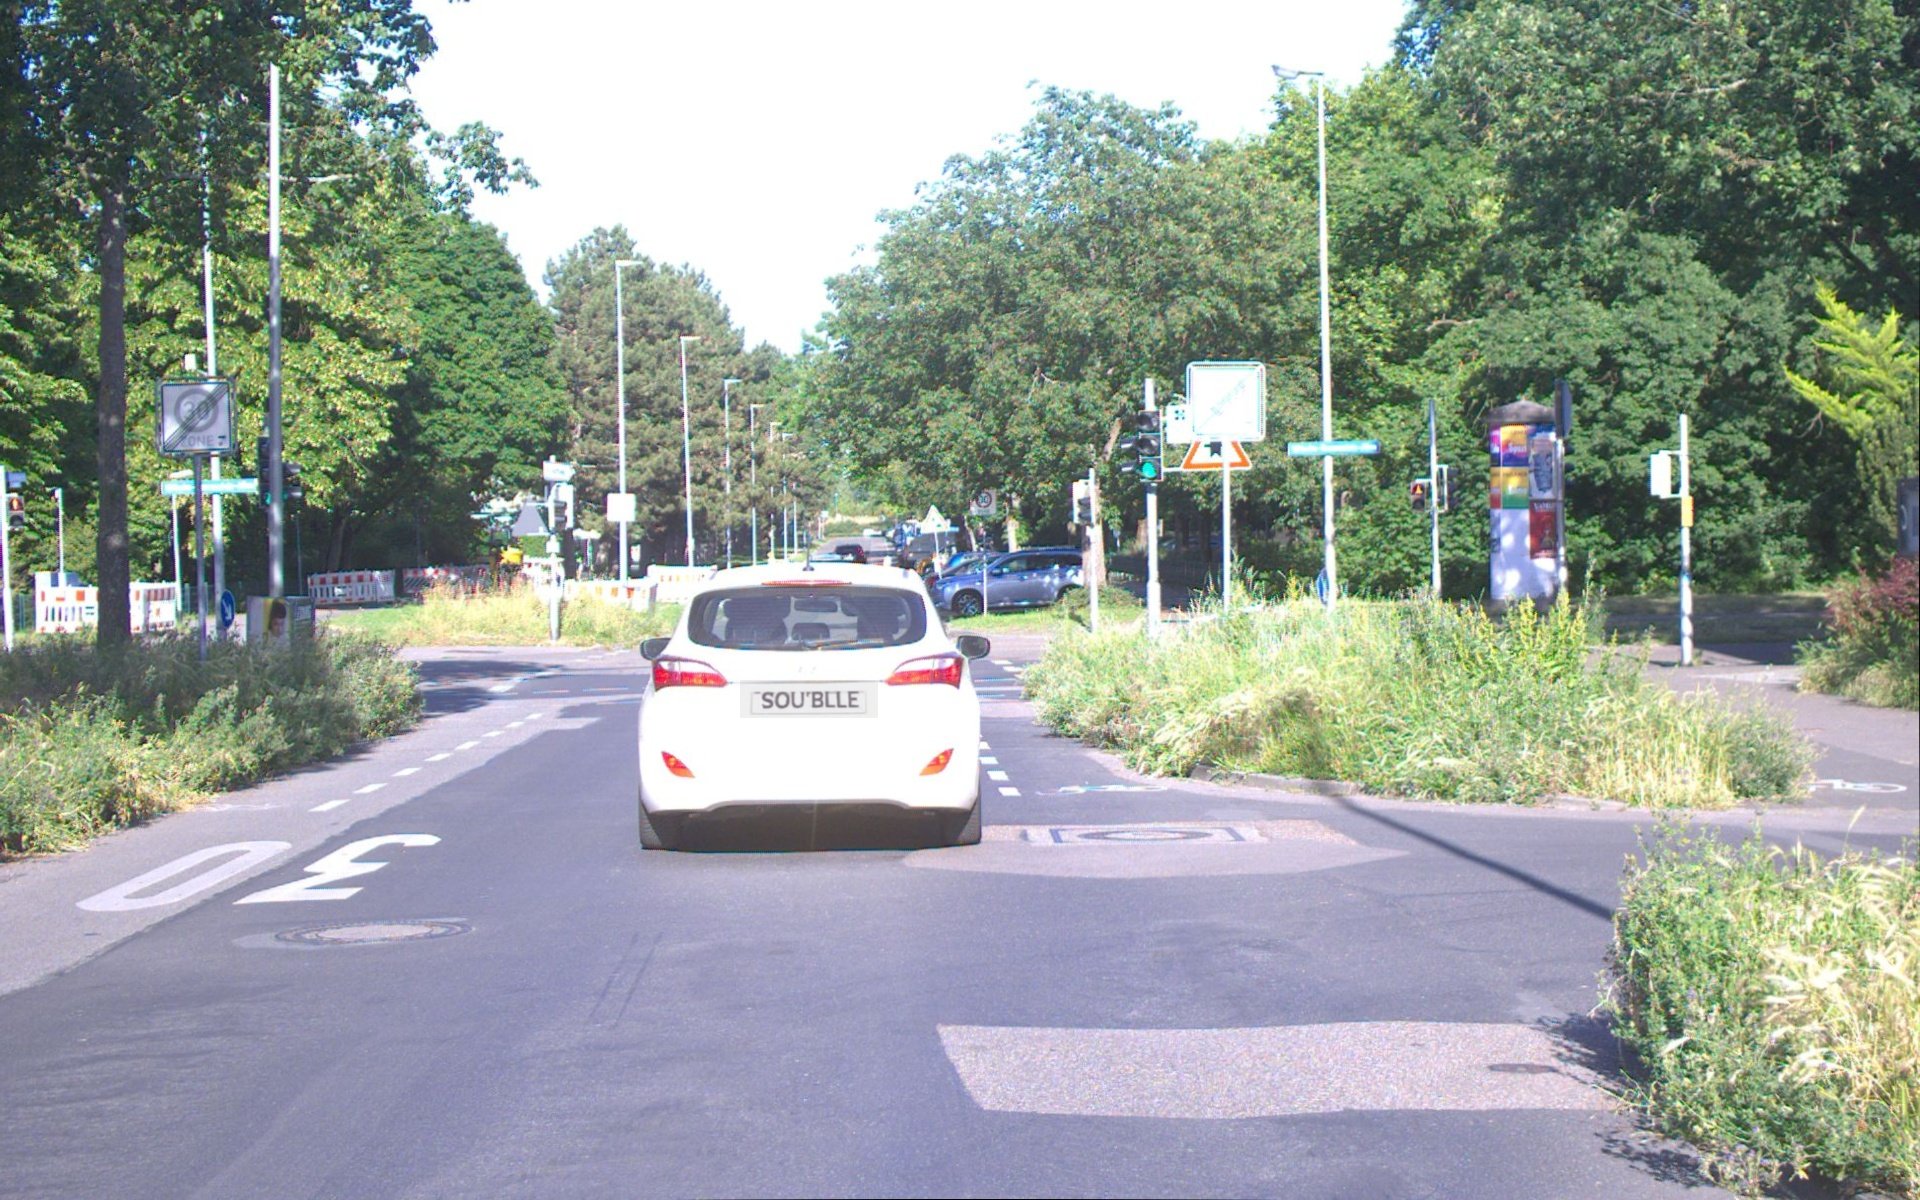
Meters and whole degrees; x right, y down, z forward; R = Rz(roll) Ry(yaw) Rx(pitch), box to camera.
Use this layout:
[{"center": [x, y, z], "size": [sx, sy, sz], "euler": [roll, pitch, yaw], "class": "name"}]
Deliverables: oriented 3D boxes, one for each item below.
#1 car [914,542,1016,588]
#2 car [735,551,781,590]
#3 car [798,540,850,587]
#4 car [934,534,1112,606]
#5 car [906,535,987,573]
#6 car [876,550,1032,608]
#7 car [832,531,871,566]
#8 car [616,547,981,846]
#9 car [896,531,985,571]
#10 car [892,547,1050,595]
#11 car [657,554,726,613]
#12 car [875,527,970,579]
[{"center": [0.174, -1.323, 130.435], "size": [3.819, 1.678, 1.863], "euler": [0, 0, -1], "class": "car"}, {"center": [-9.428, -1.393, 160.697], "size": [1.993, 1.809, 4.000], "euler": [0, 1, -1], "class": "car"}, {"center": [-5.420, -1.469, 137.435], "size": [1.993, 1.809, 4.000], "euler": [1, 1, -1], "class": "car"}, {"center": [1.623, -0.778, 88.436], "size": [4.499, 1.777, 1.855], "euler": [-1, 1, 1], "class": "car"}, {"center": [-0.655, -2.195, 164.632], "size": [3.819, 1.761, 1.863], "euler": [0, 0, -1], "class": "car"}, {"center": [-0.146, -0.621, 100.423], "size": [4.499, 1.624, 1.855], "euler": [-1, 1, 1], "class": "car"}, {"center": [-5.660, -2.692, 180.184], "size": [1.993, 1.809, 4.000], "euler": [0, 0, -1], "class": "car"}, {"center": [-0.848, 0.444, 18.926], "size": [1.789, 1.458, 3.964], "euler": [0, 1, -1], "class": "car"}, {"center": [-0.962, -2.387, 167.775], "size": [4.301, 1.901, 1.863], "euler": [0, 0, -1], "class": "car"}, {"center": [0.385, -1.043, 123.569], "size": [5.613, 1.678, 1.948], "euler": [0, 0, -1], "class": "car"}, {"center": [-8.762, -0.559, 112.457], "size": [1.993, 1.809, 4.001], "euler": [0, 2, -1], "class": "car"}, {"center": [-1.532, -1.914, 140.443], "size": [3.819, 2.091, 1.863], "euler": [0, 0, -1], "class": "car"}]
